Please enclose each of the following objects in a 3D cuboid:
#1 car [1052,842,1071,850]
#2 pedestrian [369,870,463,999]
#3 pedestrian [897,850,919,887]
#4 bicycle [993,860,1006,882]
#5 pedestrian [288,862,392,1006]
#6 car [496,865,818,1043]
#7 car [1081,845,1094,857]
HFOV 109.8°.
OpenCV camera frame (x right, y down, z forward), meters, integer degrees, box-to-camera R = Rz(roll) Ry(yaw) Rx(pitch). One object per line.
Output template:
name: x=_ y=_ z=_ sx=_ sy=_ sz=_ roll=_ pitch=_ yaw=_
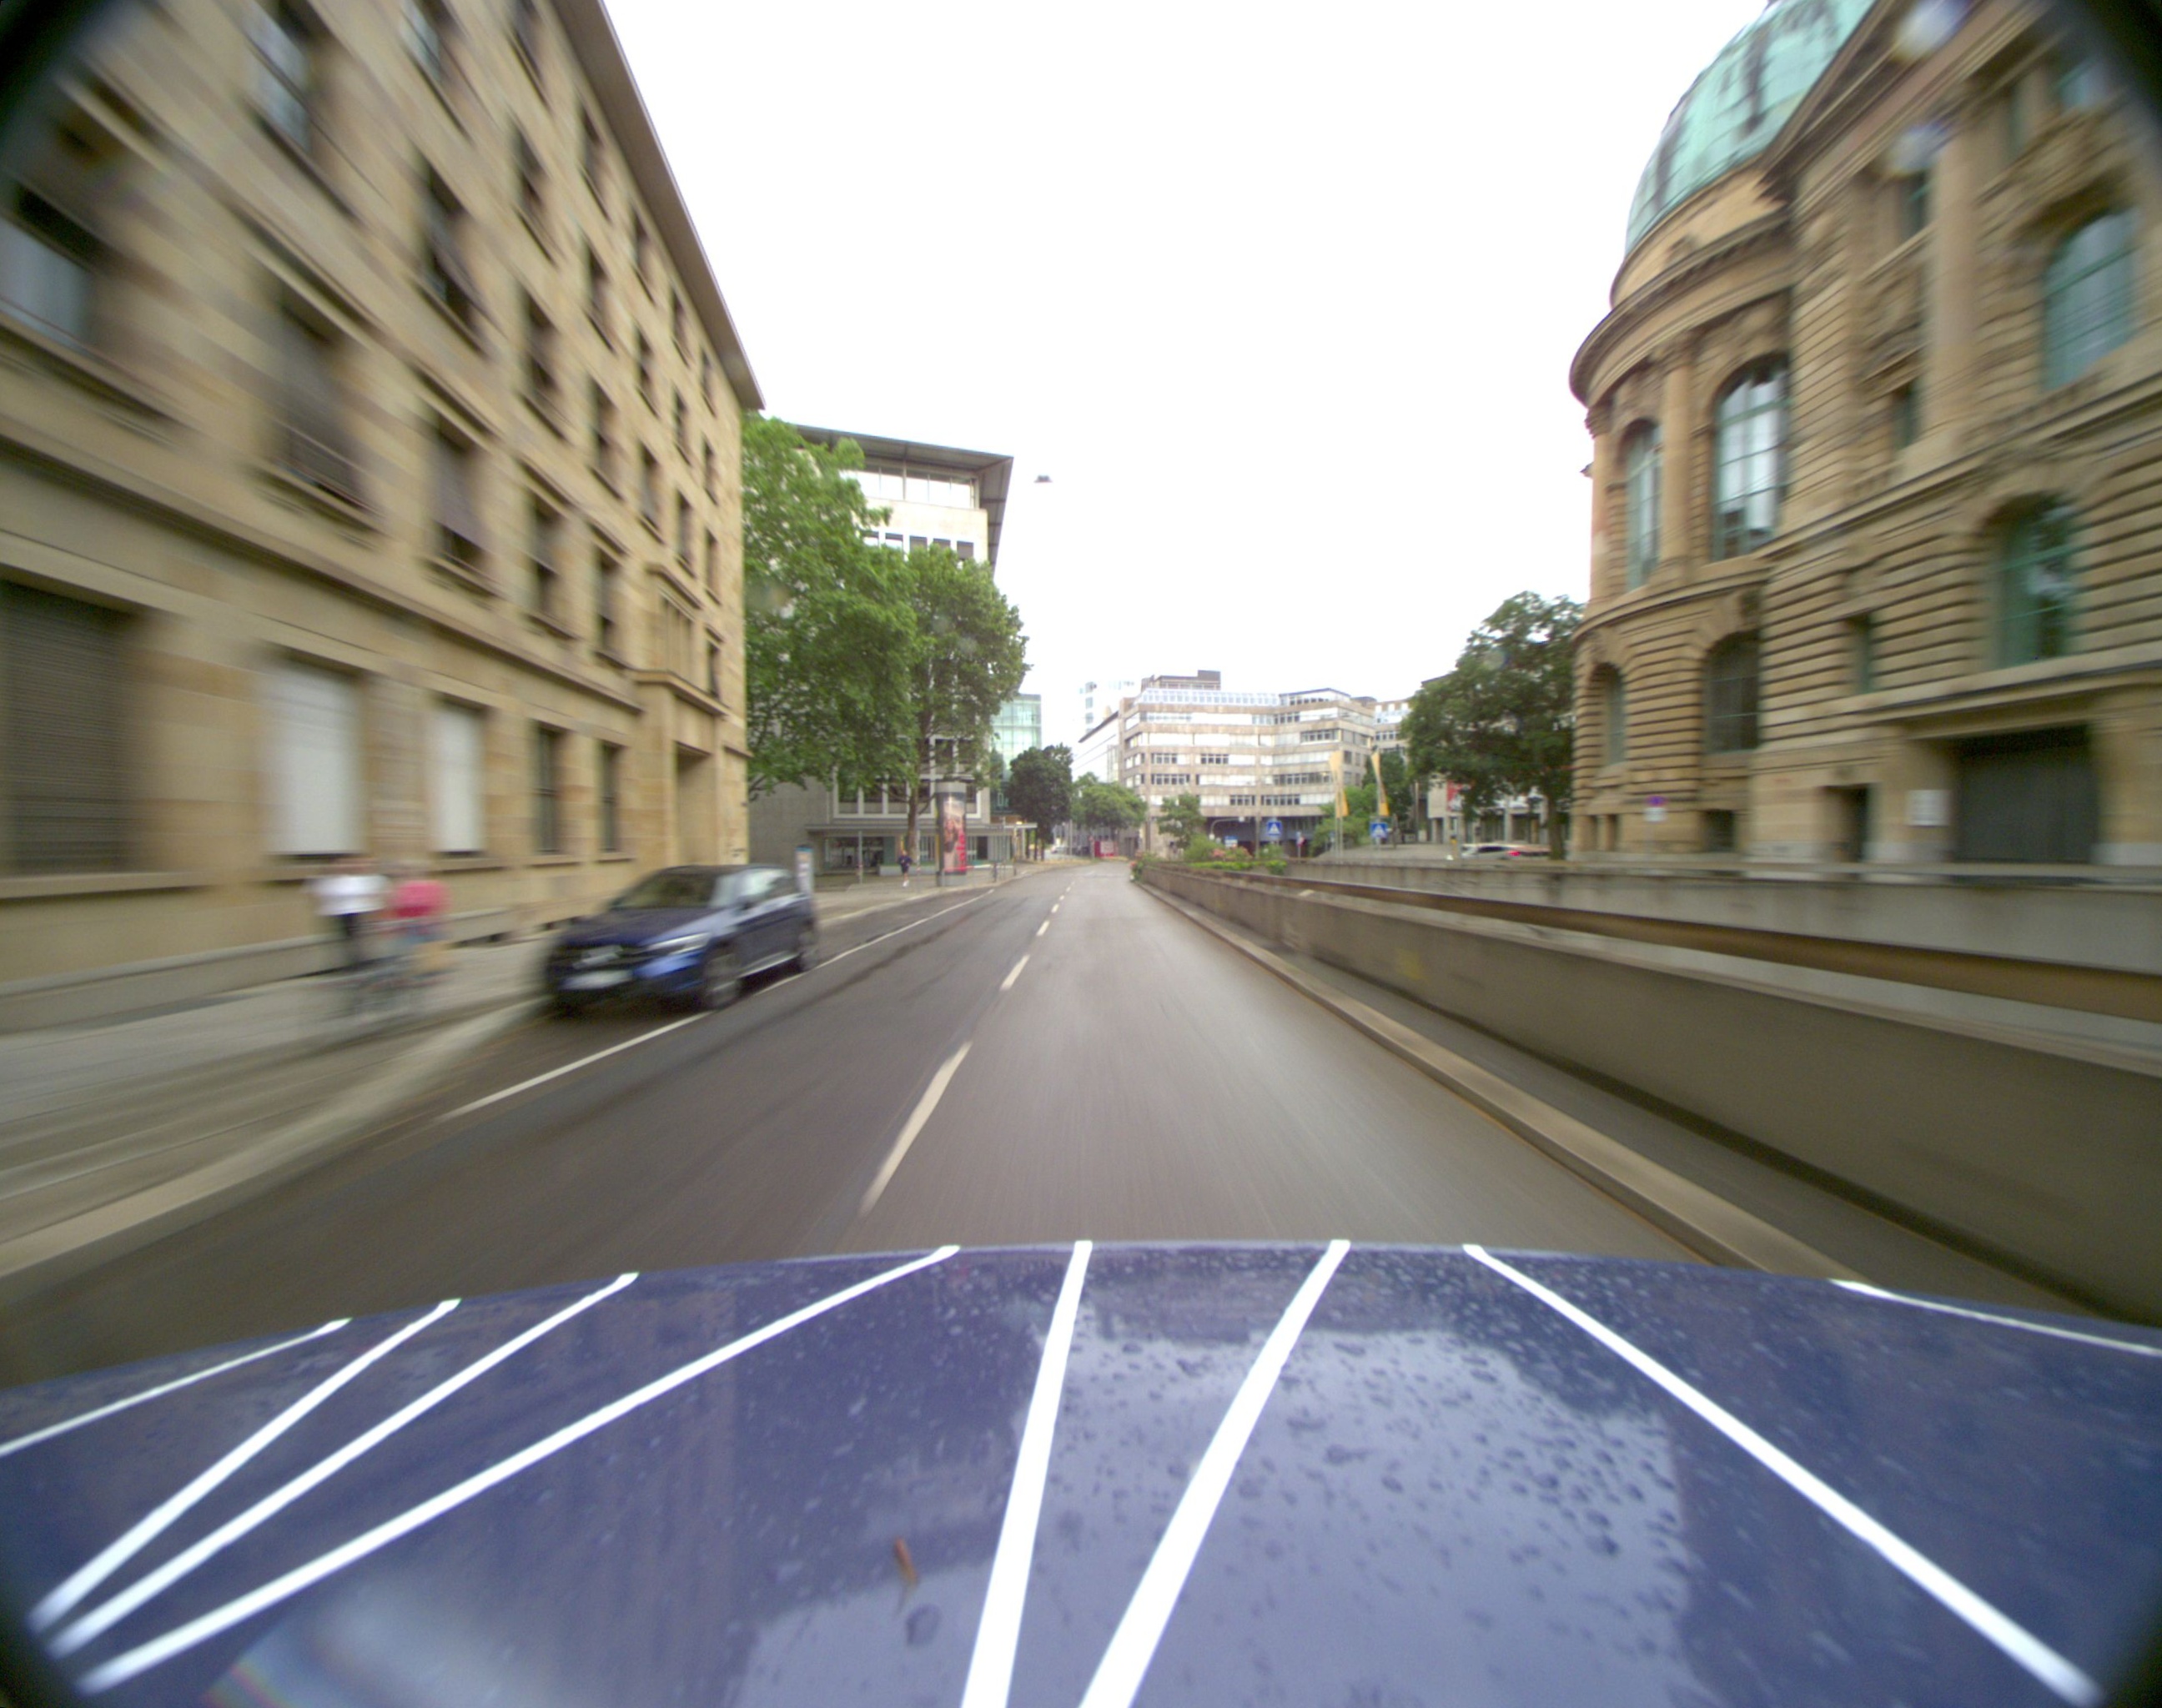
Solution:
car: x=-4.329 y=-1.848 z=166.721 sx=3.776 sy=1.641 sz=1.796 roll=2 pitch=0 yaw=-23
pedestrian: x=-8.083 y=0.952 z=9.259 sx=0.526 sy=1.483 sz=0.673 roll=-1 pitch=1 yaw=-4
pedestrian: x=-8.215 y=0.669 z=36.097 sx=0.781 sy=1.761 sz=0.863 roll=0 pitch=1 yaw=5
bicycle: x=-4.131 y=0.853 z=38.433 sx=0.490 sy=1.006 sz=1.927 roll=-1 pitch=1 yaw=-2
pedestrian: x=-8.625 y=0.904 z=8.872 sx=0.526 sy=1.593 sz=0.673 roll=-1 pitch=1 yaw=-4
car: x=-4.914 y=1.025 z=9.615 sx=1.773 sy=1.610 sz=4.156 roll=-1 pitch=1 yaw=-1
car: x=1.095 y=-0.571 z=131.826 sx=1.999 sy=2.068 sz=3.998 roll=-1 pitch=1 yaw=-4
